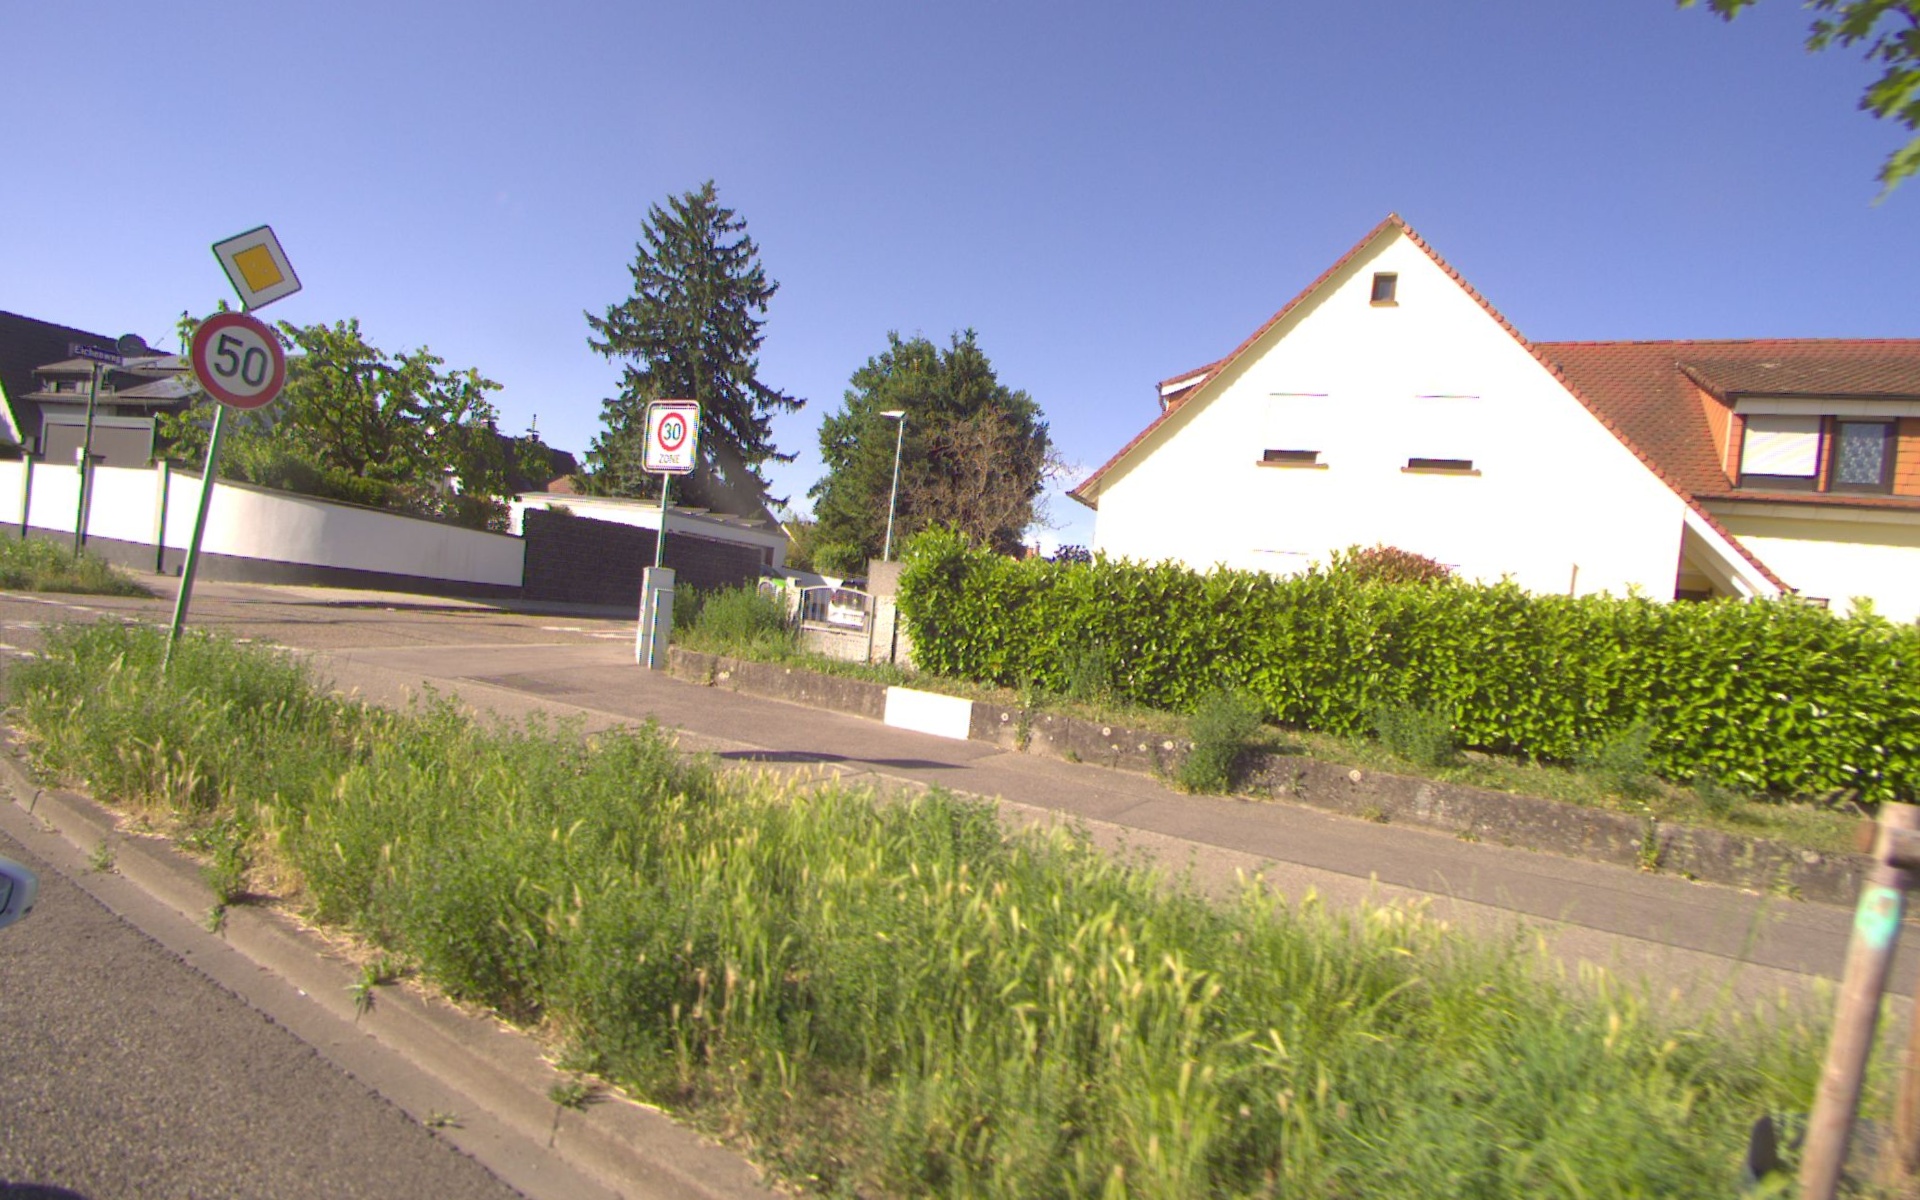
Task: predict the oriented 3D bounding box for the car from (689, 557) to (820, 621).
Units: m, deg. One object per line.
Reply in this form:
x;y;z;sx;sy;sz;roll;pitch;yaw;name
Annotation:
-6.726;-0.362;32.893;3.928;1.601;1.591;7;1;25;car

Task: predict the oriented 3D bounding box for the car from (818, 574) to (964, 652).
-1.584;0.365;24.645;1.802;1.549;3.997;8;1;23;car
